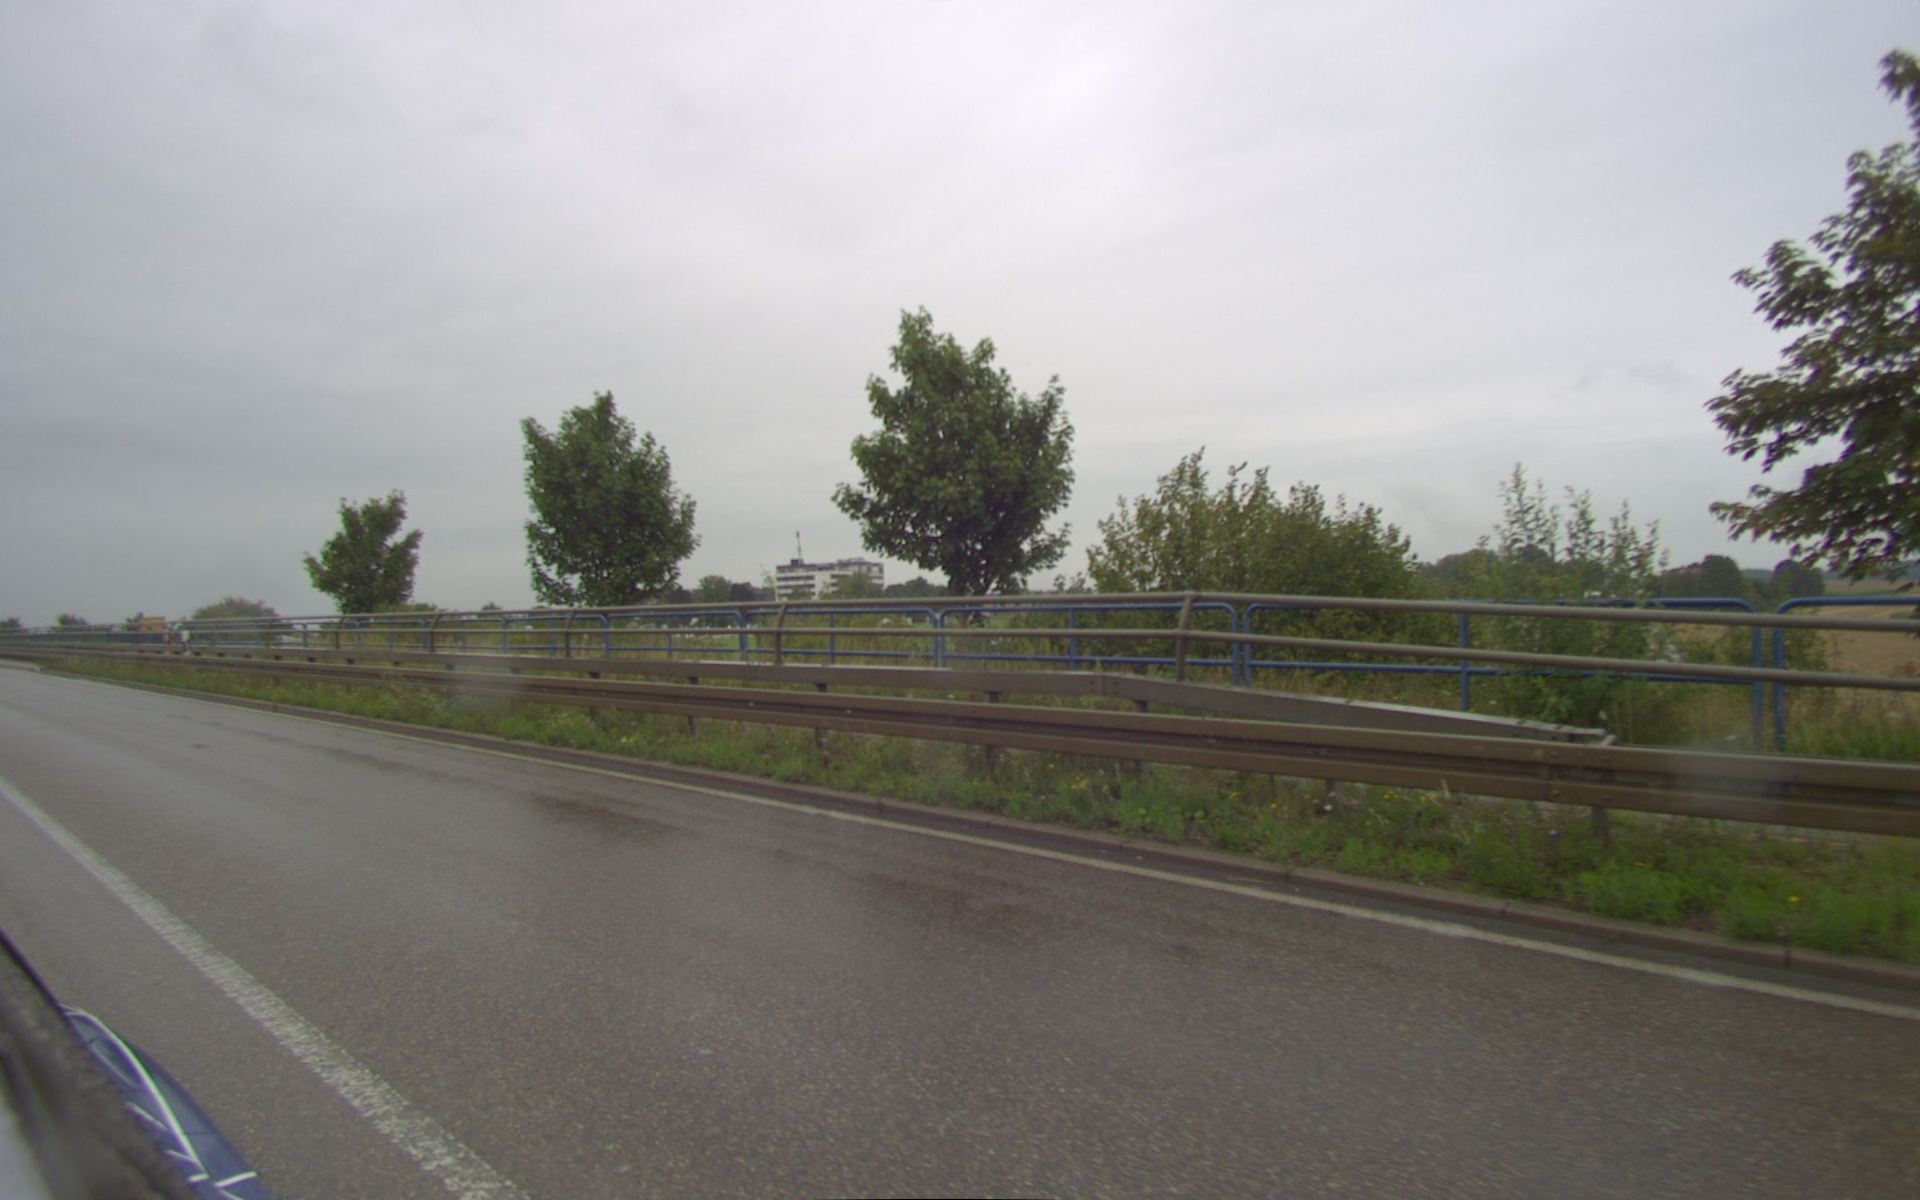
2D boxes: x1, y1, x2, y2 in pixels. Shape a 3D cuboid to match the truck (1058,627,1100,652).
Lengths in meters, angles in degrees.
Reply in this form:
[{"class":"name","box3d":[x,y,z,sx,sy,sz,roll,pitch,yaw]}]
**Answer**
[{"class":"truck","box3d":[21.038,6.880,177.980,3.338,3.975,11.416,-2,0,28]}]
